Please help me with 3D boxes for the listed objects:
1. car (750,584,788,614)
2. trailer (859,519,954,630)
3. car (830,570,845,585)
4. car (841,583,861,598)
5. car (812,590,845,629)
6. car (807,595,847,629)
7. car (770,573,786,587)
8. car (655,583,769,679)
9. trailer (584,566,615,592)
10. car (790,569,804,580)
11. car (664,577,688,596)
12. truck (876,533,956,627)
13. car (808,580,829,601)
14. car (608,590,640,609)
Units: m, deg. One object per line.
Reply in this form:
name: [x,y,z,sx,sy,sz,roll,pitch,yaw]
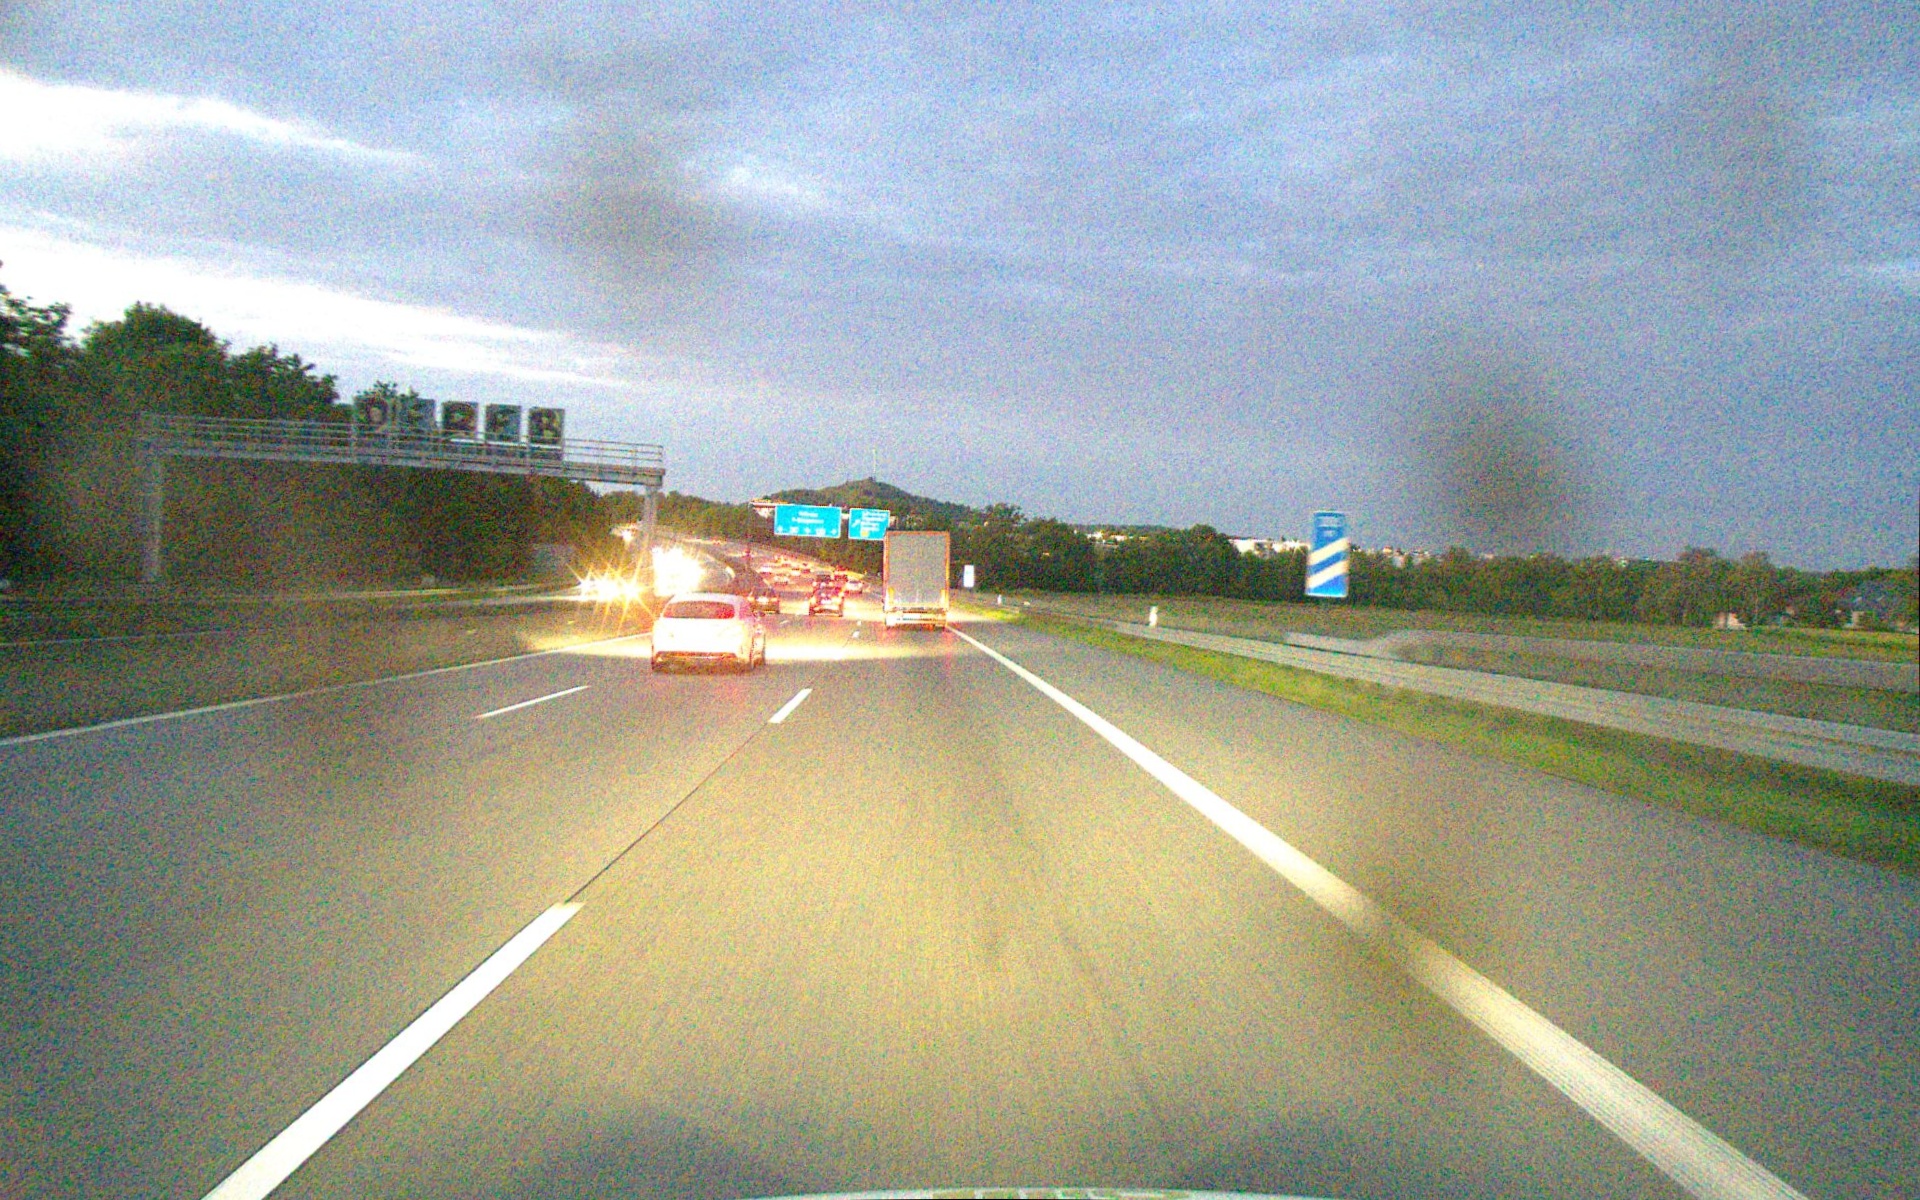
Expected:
car: [-10.911,-0.051,94.624,1.726,1.602,4.575,2,0,-2]
trailer: [-2.082,-0.924,71.104,3.477,4.188,15.062,1,0,0]
car: [-17.635,-3.191,238.245,1.956,2.012,3.994,2,0,-7]
car: [-11.516,-1.008,174.651,1.955,1.561,3.996,2,0,-5]
car: [-8.640,0.607,108.844,1.953,2.422,3.999,1,0,-2]
car: [-7.181,0.644,89.458,2.024,1.715,4.573,2,0,-4]
car: [-23.216,-2.539,211.112,1.955,1.650,3.996,2,0,-5]
car: [-4.637,0.545,31.534,1.870,1.642,4.798,2,0,-6]
trailer: [-30.931,-1.784,142.036,1.875,2.037,4.238,3,0,-3]
car: [-25.114,-3.944,254.192,1.956,1.650,3.992,2,0,-8]
car: [-30.077,-1.453,175.173,1.875,1.900,6.010,2,0,-4]
truck: [-2.008,-0.888,78.131,3.478,4.163,6.151,1,0,0]
car: [-14.284,-0.993,167.266,1.955,2.049,3.994,2,0,-7]
car: [-25.486,-0.050,125.582,1.655,1.378,4.895,2,0,-3]
